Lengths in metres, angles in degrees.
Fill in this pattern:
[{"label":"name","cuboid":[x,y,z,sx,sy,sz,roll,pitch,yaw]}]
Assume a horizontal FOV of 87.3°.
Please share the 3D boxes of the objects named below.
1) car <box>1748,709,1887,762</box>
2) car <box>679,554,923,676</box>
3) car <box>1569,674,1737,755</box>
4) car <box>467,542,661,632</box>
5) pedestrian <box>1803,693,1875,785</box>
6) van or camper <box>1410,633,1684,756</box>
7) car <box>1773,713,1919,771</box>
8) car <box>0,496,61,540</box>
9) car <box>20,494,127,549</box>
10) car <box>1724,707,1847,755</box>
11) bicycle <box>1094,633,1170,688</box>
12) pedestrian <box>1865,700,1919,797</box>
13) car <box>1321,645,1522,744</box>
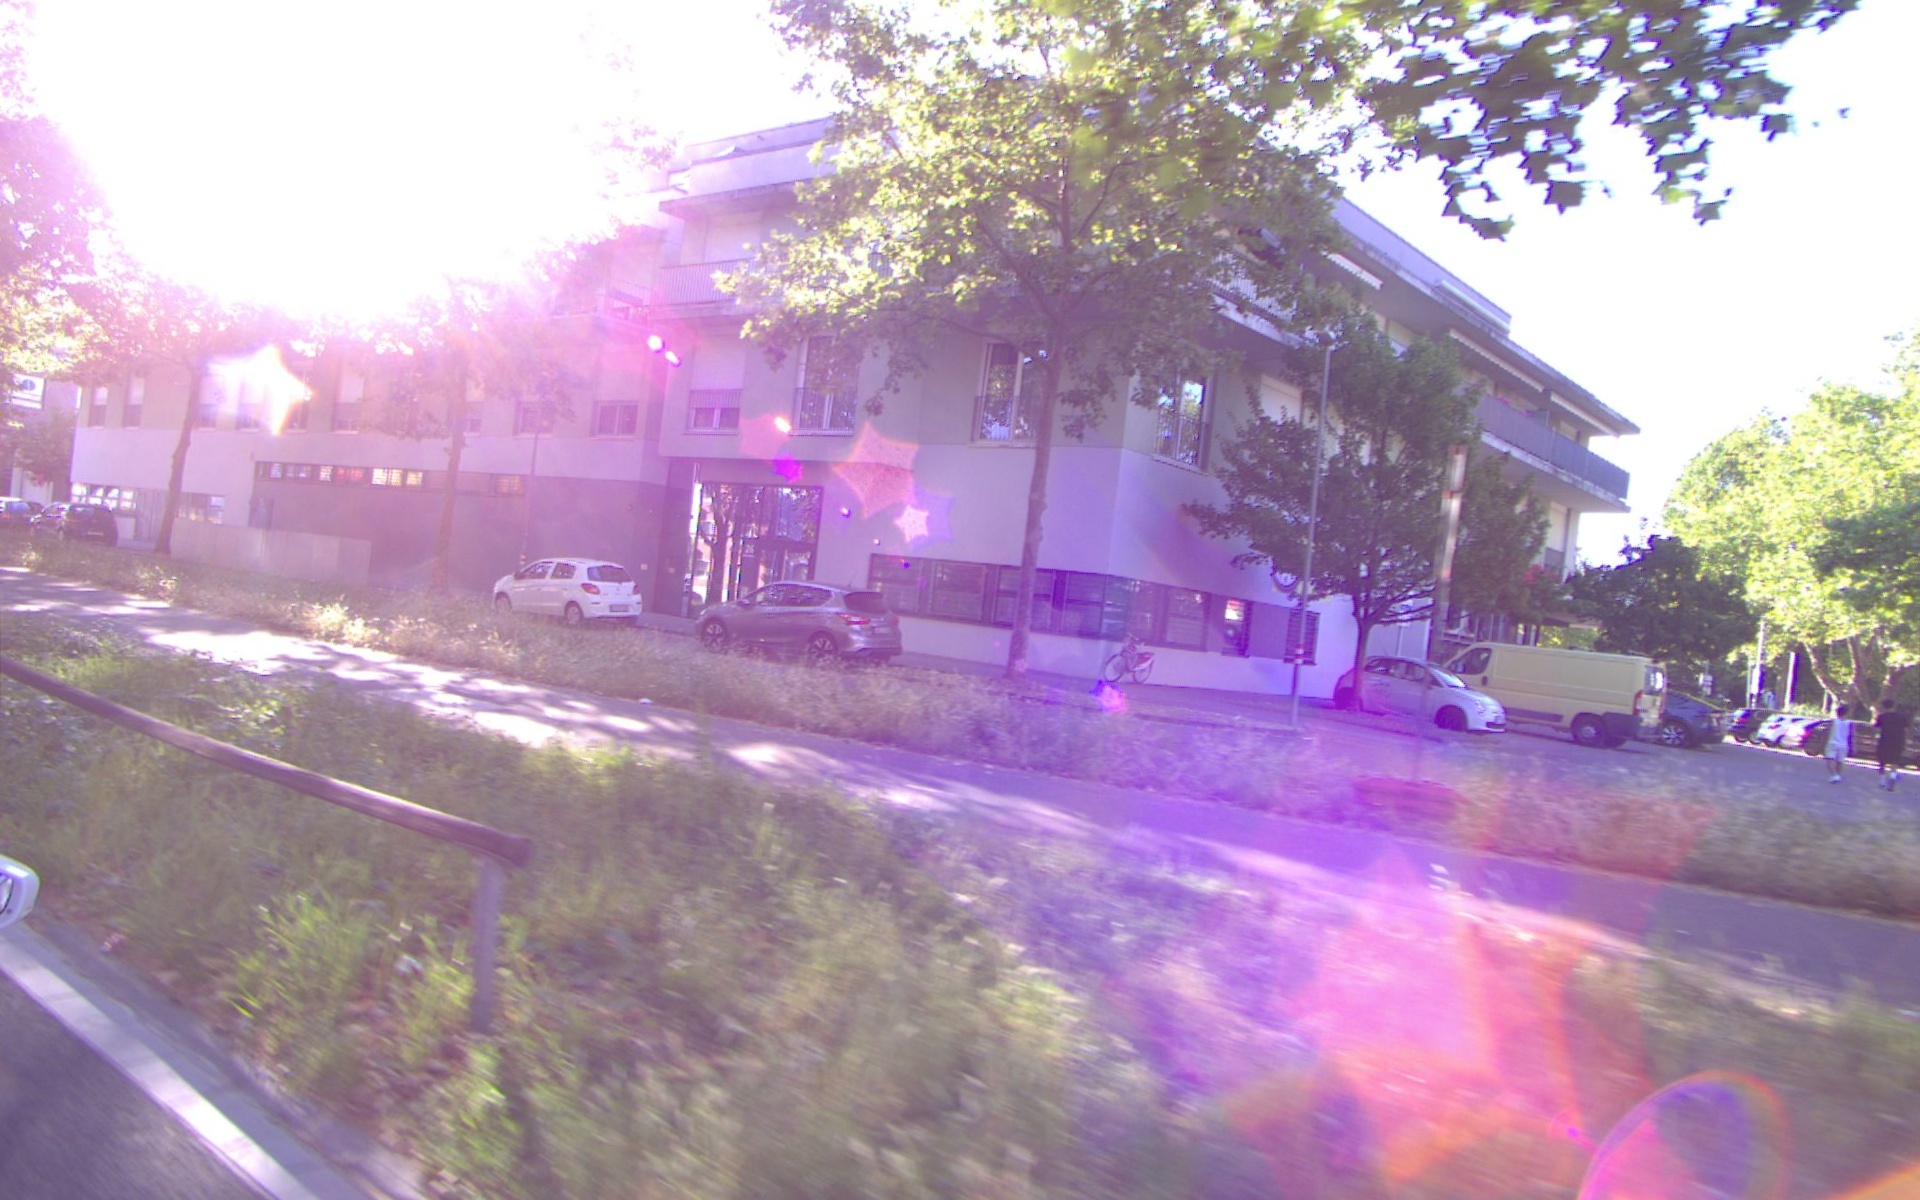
[{"label":"car","cuboid":[35.773,5.619,42.112,3.917,1.484,1.866,7,0,25]},{"label":"car","cuboid":[-3.076,0.265,19.245,4.247,1.793,1.907,6,0,31]},{"label":"car","cuboid":[20.180,3.309,29.398,1.568,1.654,3.632,7,1,-42]},{"label":"car","cuboid":[-9.153,-0.316,23.170,4.247,1.562,1.861,6,0,31]},{"label":"pedestrian","cuboid":[18.097,2.845,20.727,0.937,1.719,0.879,7,1,42]},{"label":"van or camper","cuboid":[14.535,2.278,25.208,2.248,2.275,5.309,6,0,-41]},{"label":"car","cuboid":[32.810,5.205,37.104,3.917,1.442,1.866,7,0,25]},{"label":"car","cuboid":[-38.593,-3.413,40.819,4.053,1.487,1.862,6,0,29]},{"label":"car","cuboid":[-33.013,-2.931,37.454,3.696,1.572,1.861,6,0,31]},{"label":"car","cuboid":[38.132,6.037,46.587,3.917,1.484,1.866,7,0,25]},{"label":"bicycle","cuboid":[3.725,1.311,21.726,1.668,1.030,0.582,7,0,-41]},{"label":"pedestrian","cuboid":[19.092,3.003,20.538,0.676,1.832,0.960,7,1,38]},{"label":"car","cuboid":[10.147,2.055,22.270,1.665,1.473,3.513,7,3,-43]}]
